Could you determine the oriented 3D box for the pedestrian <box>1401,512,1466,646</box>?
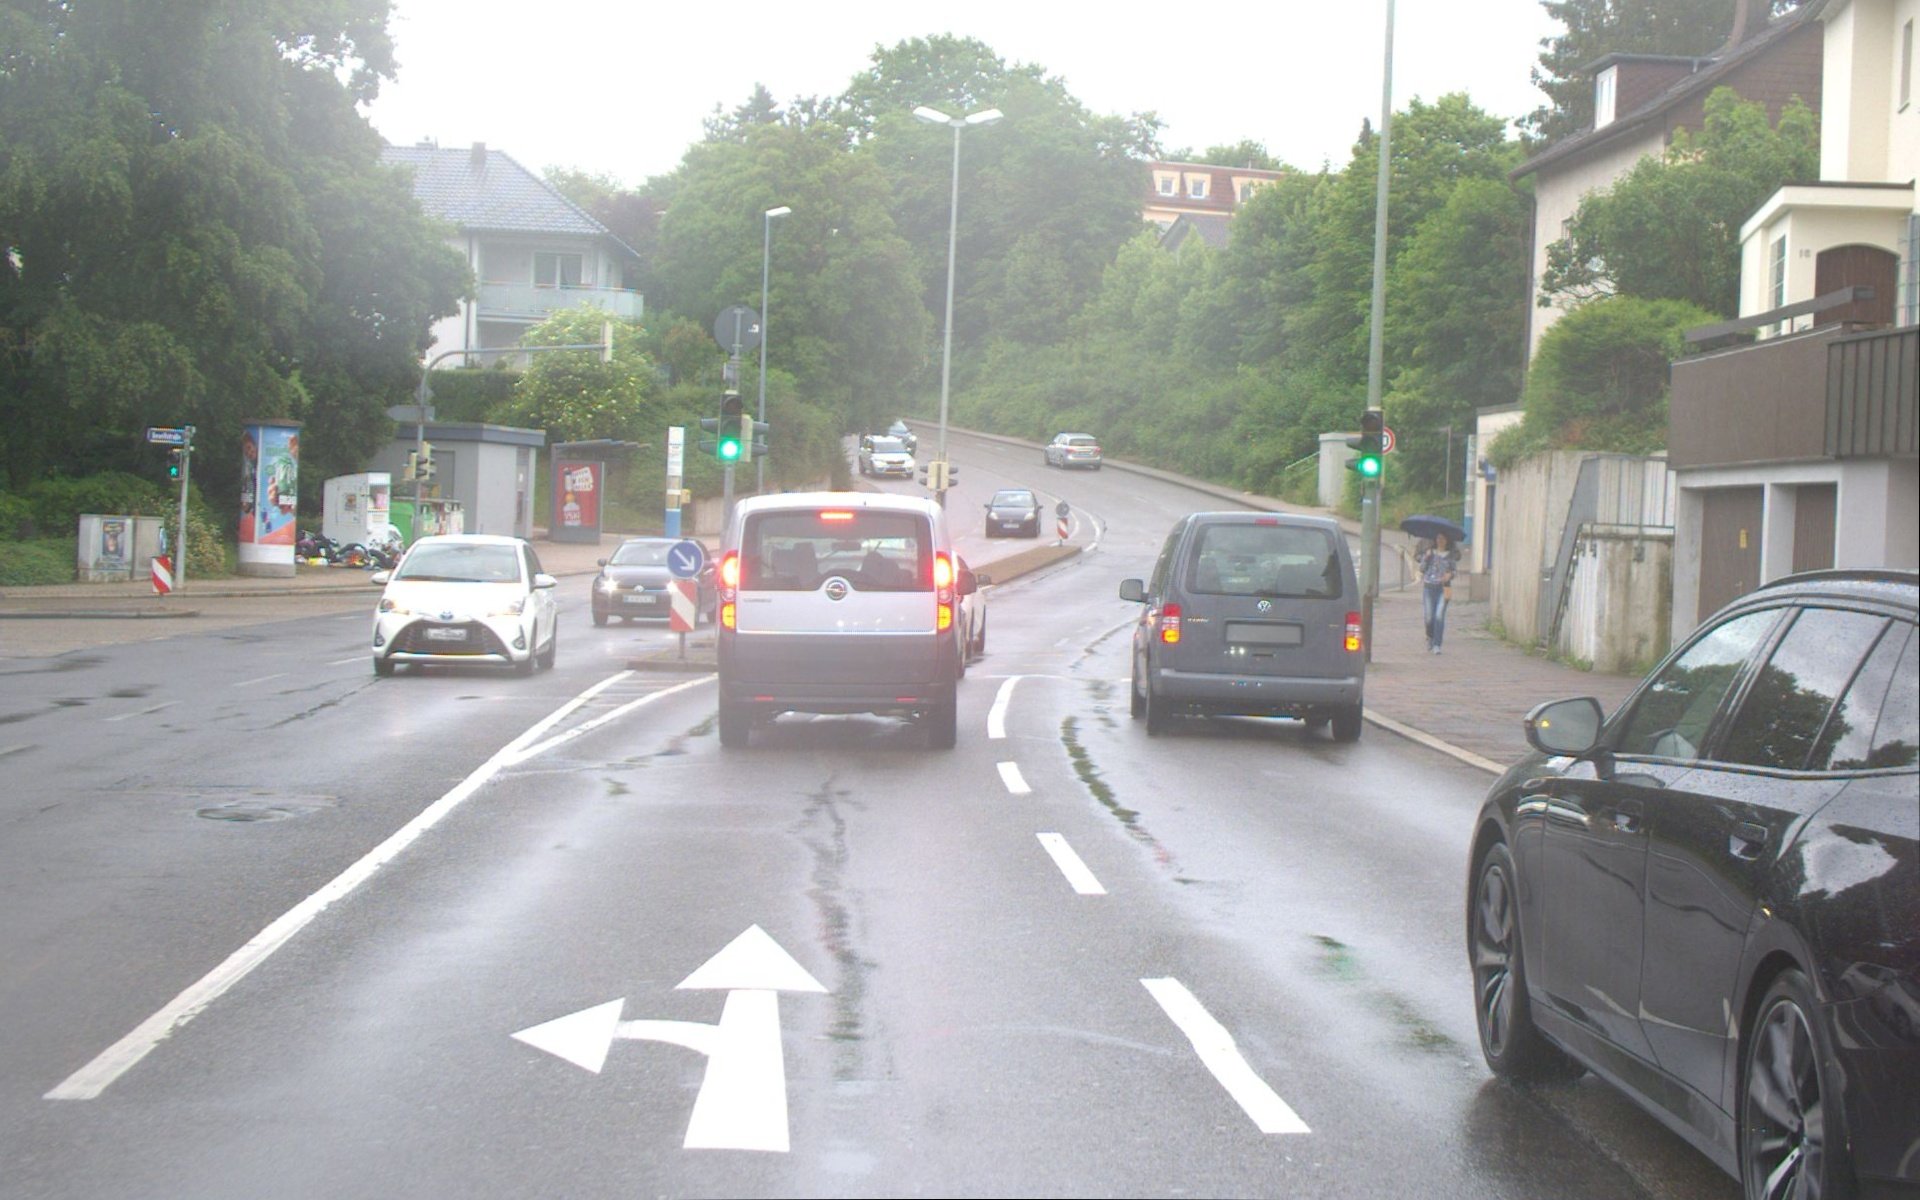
[{"bbox_3d":[6.328,-0.289,45.978,0.794,1.774,1.011,0,1,4],"label":"pedestrian"}]

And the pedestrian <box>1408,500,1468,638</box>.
[{"bbox_3d":[7.115,-0.464,51.195,0.797,2.007,0.734,2,1,4],"label":"pedestrian"}]

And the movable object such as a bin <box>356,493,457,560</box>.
[{"bbox_3d":[-13.613,-1.806,84.595,2.058,1.563,1.581,1,3,10],"label":"movable object such as a bin"}]

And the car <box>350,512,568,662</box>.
[{"bbox_3d":[-5.396,-0.169,37.462,1.832,1.525,4.000,1,1,-1],"label":"car"}]

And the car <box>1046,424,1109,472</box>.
[{"bbox_3d":[5.269,-6.822,154.702,1.993,2.007,4.001,0,1,-11],"label":"car"}]

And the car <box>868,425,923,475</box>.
[{"bbox_3d":[-2.771,-6.412,147.183,1.993,2.007,4.001,1,1,-6],"label":"car"}]

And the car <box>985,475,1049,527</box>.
[{"bbox_3d":[1.868,-3.195,111.943,1.993,1.568,4.000,1,0,1],"label":"car"}]

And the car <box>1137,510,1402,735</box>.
[{"bbox_3d":[2.529,0.137,28.945,1.993,1.742,4.000,1,1,2],"label":"car"}]

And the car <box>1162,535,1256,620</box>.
[{"bbox_3d":[5.455,-0.523,75.799,1.851,1.656,4.000,2,3,2],"label":"car"}]

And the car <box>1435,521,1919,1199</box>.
[{"bbox_3d":[2.570,0.682,8.130,1.993,1.581,4.663,2,0,-3],"label":"car"}]

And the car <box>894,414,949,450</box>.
[{"bbox_3d":[-1.812,-7.813,160.156,1.840,1.546,4.385,0,1,-11],"label":"car"}]

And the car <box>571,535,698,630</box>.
[{"bbox_3d":[-5.403,-0.317,57.455,1.712,1.497,4.000,1,1,0],"label":"car"}]

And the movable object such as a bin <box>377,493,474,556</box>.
[{"bbox_3d":[-13.371,-1.902,86.036,2.058,1.509,1.343,1,3,10],"label":"movable object such as a bin"}]

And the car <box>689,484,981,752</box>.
[{"bbox_3d":[-0.869,0.084,26.574,1.951,1.864,4.746,1,1,1],"label":"car"}]

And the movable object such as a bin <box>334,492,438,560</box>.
[{"bbox_3d":[-13.848,-1.800,83.012,2.058,1.563,1.581,1,3,10],"label":"movable object such as a bin"}]

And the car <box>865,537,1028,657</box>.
[{"bbox_3d":[-0.137,-0.066,45.748,1.835,1.482,4.058,1,1,4],"label":"car"}]
